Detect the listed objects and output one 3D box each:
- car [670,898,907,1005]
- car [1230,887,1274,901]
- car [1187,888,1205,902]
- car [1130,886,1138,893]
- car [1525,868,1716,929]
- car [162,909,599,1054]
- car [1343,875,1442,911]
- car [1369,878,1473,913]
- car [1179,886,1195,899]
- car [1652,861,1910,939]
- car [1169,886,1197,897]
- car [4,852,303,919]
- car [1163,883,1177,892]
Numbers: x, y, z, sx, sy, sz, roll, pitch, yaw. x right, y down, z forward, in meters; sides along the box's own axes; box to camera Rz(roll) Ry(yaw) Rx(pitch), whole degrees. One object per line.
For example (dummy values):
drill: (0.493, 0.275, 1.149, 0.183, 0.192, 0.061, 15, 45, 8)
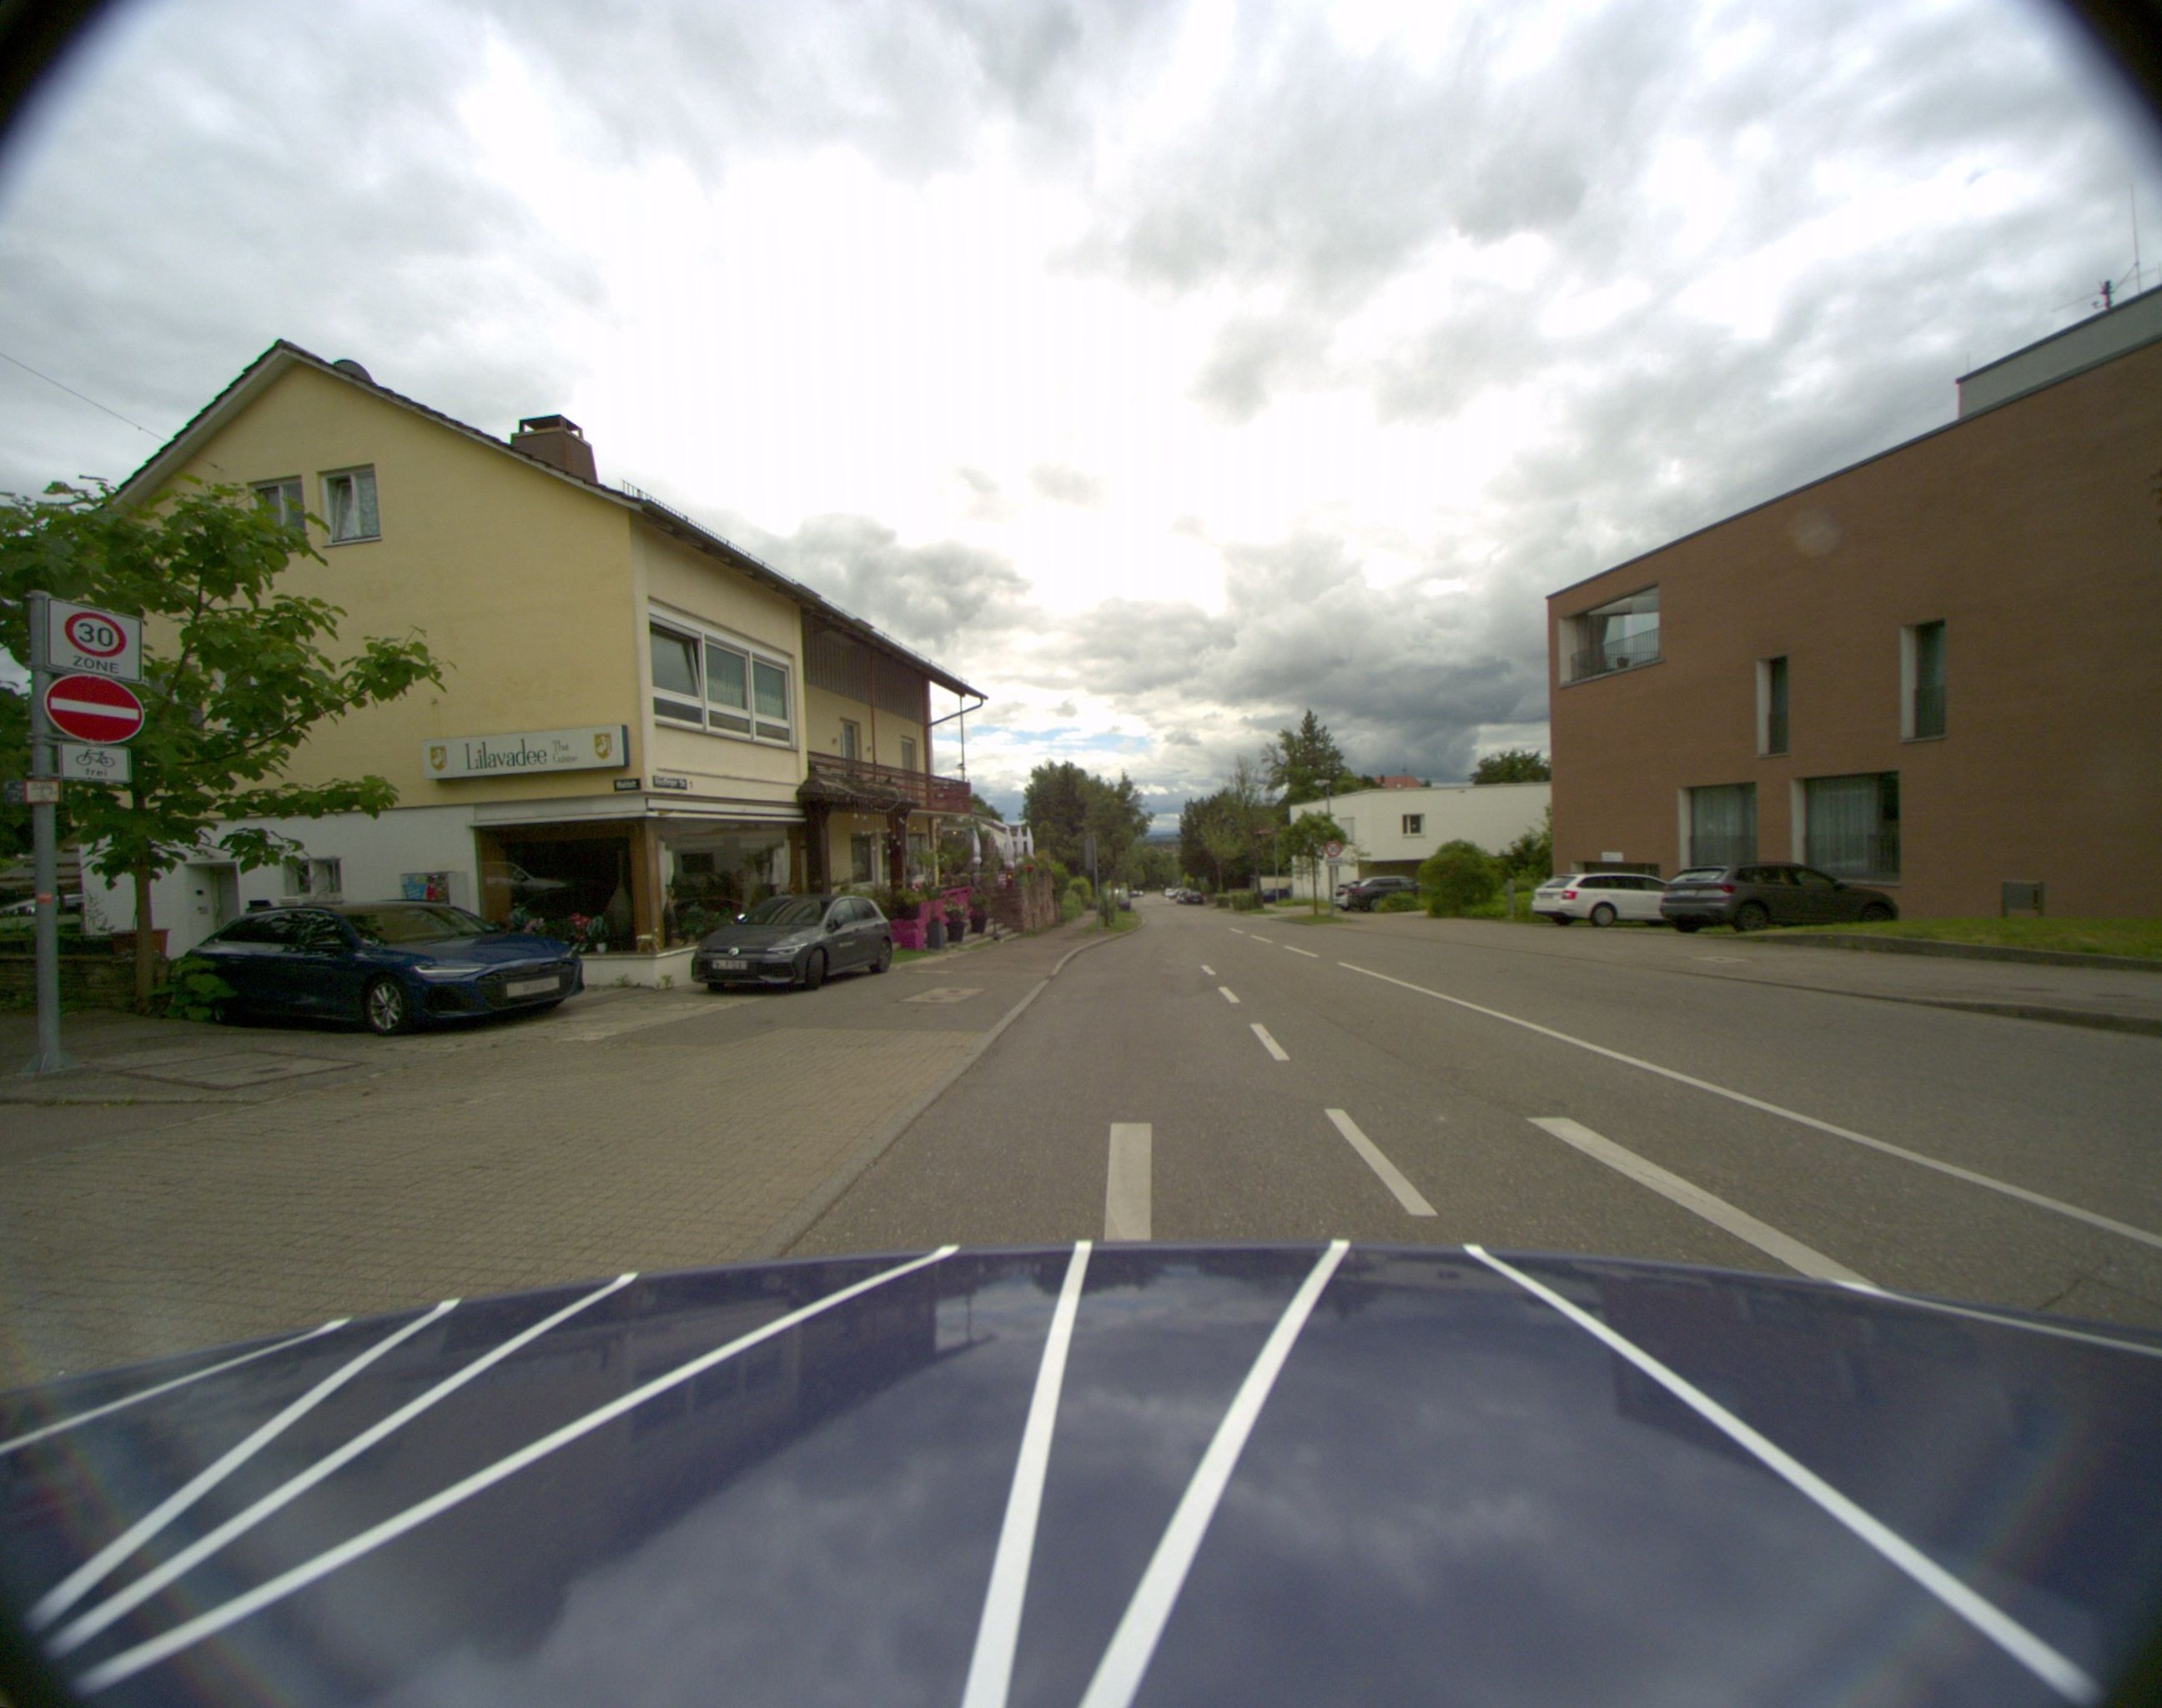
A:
car: (-4.541, 1.480, 12.627, 1.796, 1.452, 4.332, -1, -4, 8)
car: (16.549, 3.887, 73.730, 3.995, 1.278, 1.665, -2, -3, 7)
car: (12.183, 4.303, 80.579, 1.661, 1.412, 4.004, -2, -3, 6)
car: (12.793, 8.588, 183.660, 1.883, 1.412, 4.369, -1, -1, 1)
car: (14.616, 1.207, 20.715, 3.998, 1.476, 1.727, -1, -3, -3)
car: (-8.528, 1.419, 9.290, 4.739, 1.378, 1.802, -2, -1, 18)
car: (15.057, 1.897, 36.878, 3.996, 1.585, 1.795, -2, -3, 3)
car: (15.603, 1.898, 35.036, 3.996, 1.476, 1.728, -2, -3, 3)
car: (12.500, 4.559, 89.577, 1.661, 1.412, 4.372, -2, -3, 6)
car: (14.916, 0.973, 16.328, 3.998, 1.476, 1.727, -1, -3, -3)
car: (16.036, 5.884, 119.356, 4.004, 1.476, 1.724, 0, -3, -21)
car: (-22.755, 0.832, 18.916, 1.795, 1.452, 4.336, -2, -4, 22)
car: (16.210, 6.075, 137.974, 1.884, 1.412, 4.368, -1, -1, -2)
